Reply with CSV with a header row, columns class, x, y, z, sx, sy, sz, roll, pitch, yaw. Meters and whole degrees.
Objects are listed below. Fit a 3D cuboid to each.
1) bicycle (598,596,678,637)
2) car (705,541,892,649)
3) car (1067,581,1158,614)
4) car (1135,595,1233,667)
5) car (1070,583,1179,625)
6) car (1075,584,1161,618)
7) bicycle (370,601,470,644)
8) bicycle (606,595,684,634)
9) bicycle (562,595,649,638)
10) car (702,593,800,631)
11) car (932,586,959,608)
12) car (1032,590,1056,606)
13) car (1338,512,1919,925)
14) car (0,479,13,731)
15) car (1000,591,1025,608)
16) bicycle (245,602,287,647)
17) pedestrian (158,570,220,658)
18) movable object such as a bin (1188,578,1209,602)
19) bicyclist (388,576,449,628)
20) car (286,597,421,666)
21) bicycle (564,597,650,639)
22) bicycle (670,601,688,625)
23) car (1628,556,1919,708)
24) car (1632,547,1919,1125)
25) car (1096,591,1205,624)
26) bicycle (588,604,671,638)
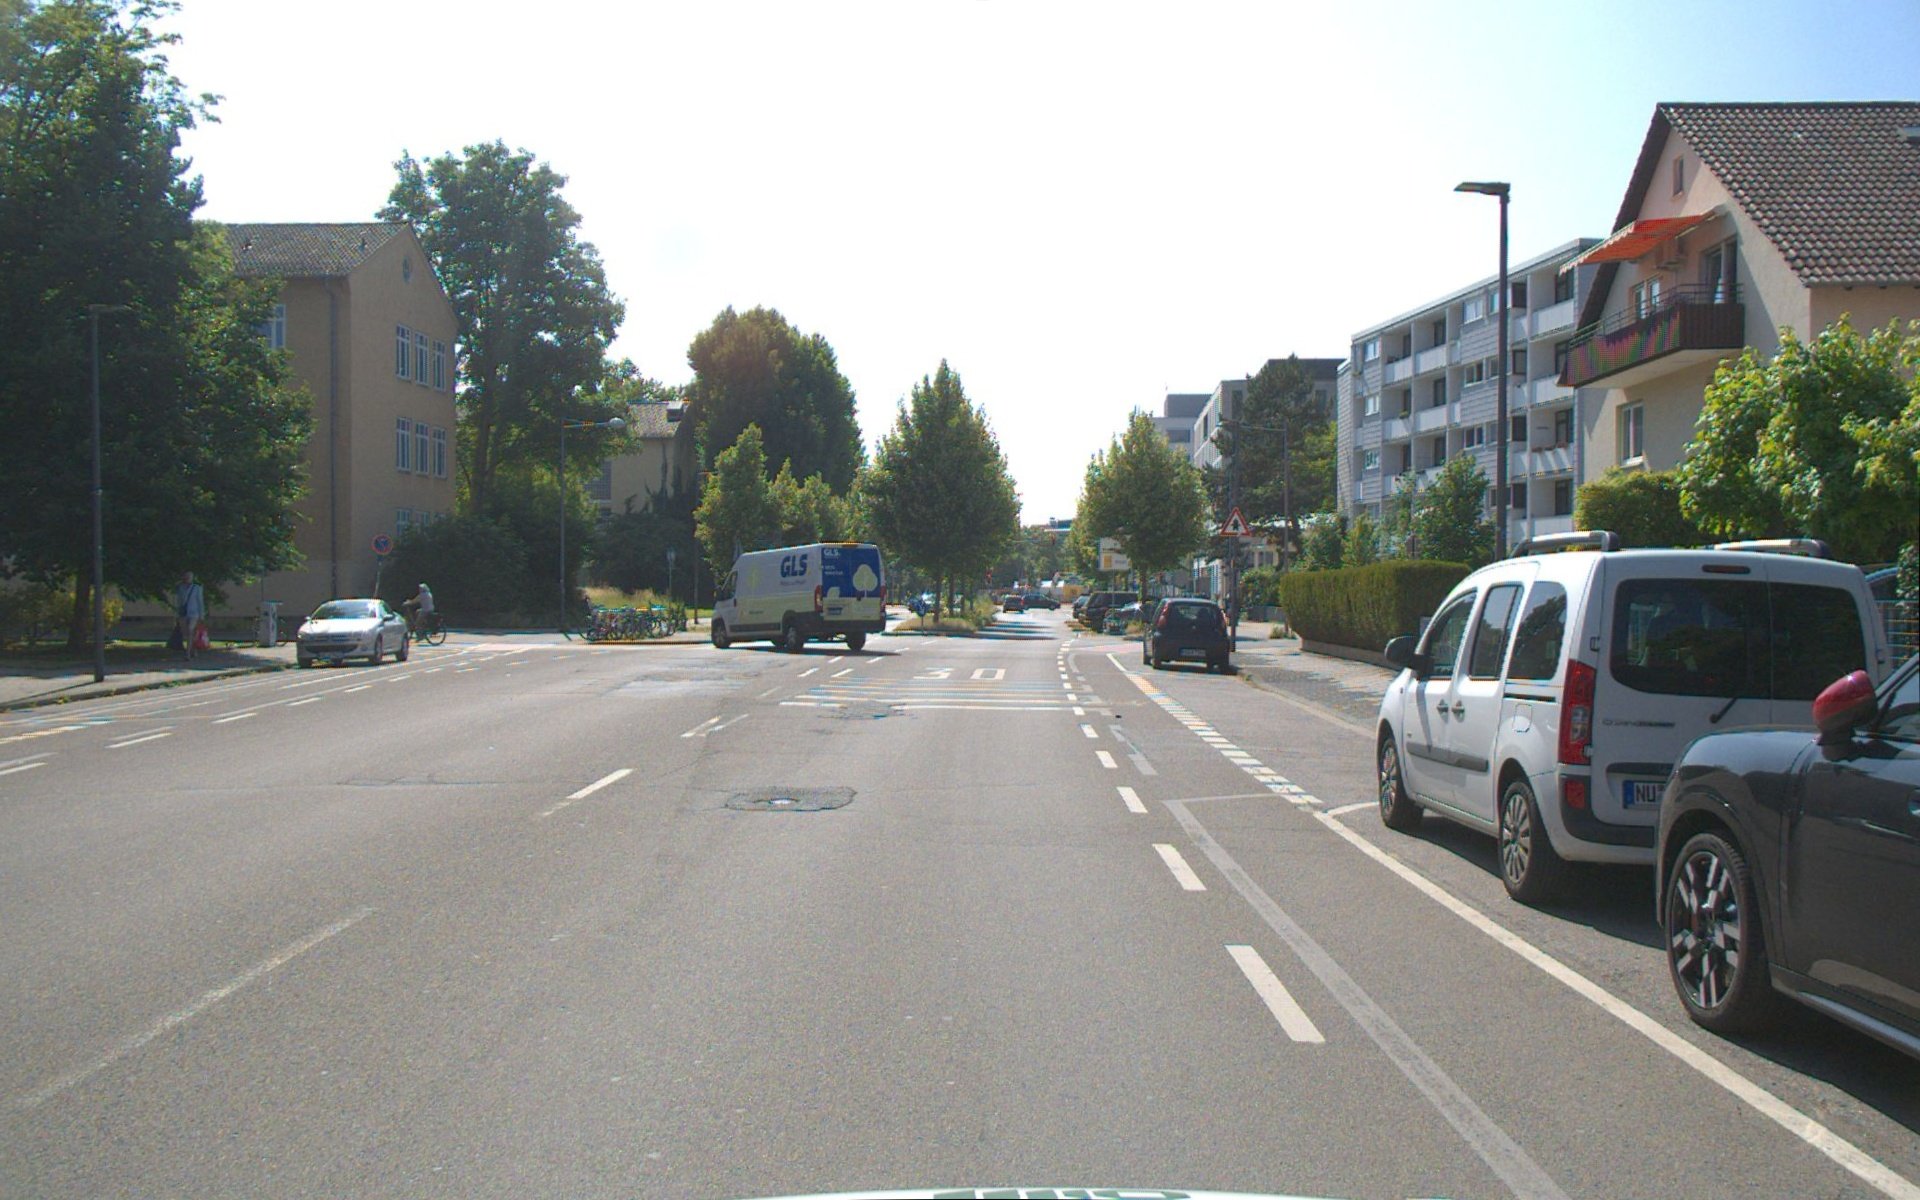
class,x,y,z,sx,sy,sz,roll,pitch,yaw
bicycle,-10.586,0.530,54.413,2.463,1.278,0.739,-1,1,0
car,-4.251,-0.124,42.493,2.255,2.568,6.065,-1,0,-33
car,8.068,-0.130,87.268,4.683,1.689,1.734,0,0,-31
car,4.763,0.625,35.540,1.583,1.414,4.000,1,0,1
car,6.749,0.168,67.803,4.065,1.668,2.023,0,0,-31
car,7.726,0.046,81.114,3.913,1.668,1.749,0,0,-10
bicycle,-15.269,0.628,46.806,2.490,1.132,0.961,-1,1,7
bicycle,-10.564,0.478,55.511,2.492,1.278,0.739,0,0,0
bicycle,-10.893,0.503,50.922,2.492,1.278,0.739,-1,1,0
car,-9.021,0.500,71.316,3.926,1.492,1.990,-1,1,-18
car,-1.037,-0.247,122.373,1.705,1.574,4.075,-1,0,4
car,7.944,-0.166,155.996,1.787,1.476,4.004,0,0,9
car,3.699,0.560,9.981,1.726,1.858,4.598,2,0,0
car,-10.316,0.112,13.832,2.050,2.540,5.942,-1,1,-8
car,4.423,-0.066,139.402,1.953,1.422,4.000,0,0,0
bicycle,-18.034,0.627,42.963,1.687,1.099,0.375,1,1,44
pedestrian,-16.004,0.289,34.345,0.954,1.811,0.725,0,0,-1
movable object such as a bin,17.126,-0.730,118.902,1.281,1.620,1.396,-2,0,0
bicyclist,-15.336,0.042,46.850,1.322,1.428,0.961,-1,1,7
car,-12.959,0.635,35.557,1.686,1.289,3.996,-1,1,-5
bicycle,-11.088,0.554,52.007,2.492,1.261,0.739,-1,1,0
bicycle,-10.832,0.492,63.696,0.510,0.919,1.270,-1,0,-2
car,10.956,0.367,19.985,4.983,1.735,1.978,0,0,-1
car,3.553,0.665,4.465,1.726,1.621,4.313,0,1,0
car,7.483,0.293,65.004,3.933,1.258,1.740,0,0,-23
bicycle,-10.584,0.674,52.992,2.492,1.005,0.739,-1,1,0
